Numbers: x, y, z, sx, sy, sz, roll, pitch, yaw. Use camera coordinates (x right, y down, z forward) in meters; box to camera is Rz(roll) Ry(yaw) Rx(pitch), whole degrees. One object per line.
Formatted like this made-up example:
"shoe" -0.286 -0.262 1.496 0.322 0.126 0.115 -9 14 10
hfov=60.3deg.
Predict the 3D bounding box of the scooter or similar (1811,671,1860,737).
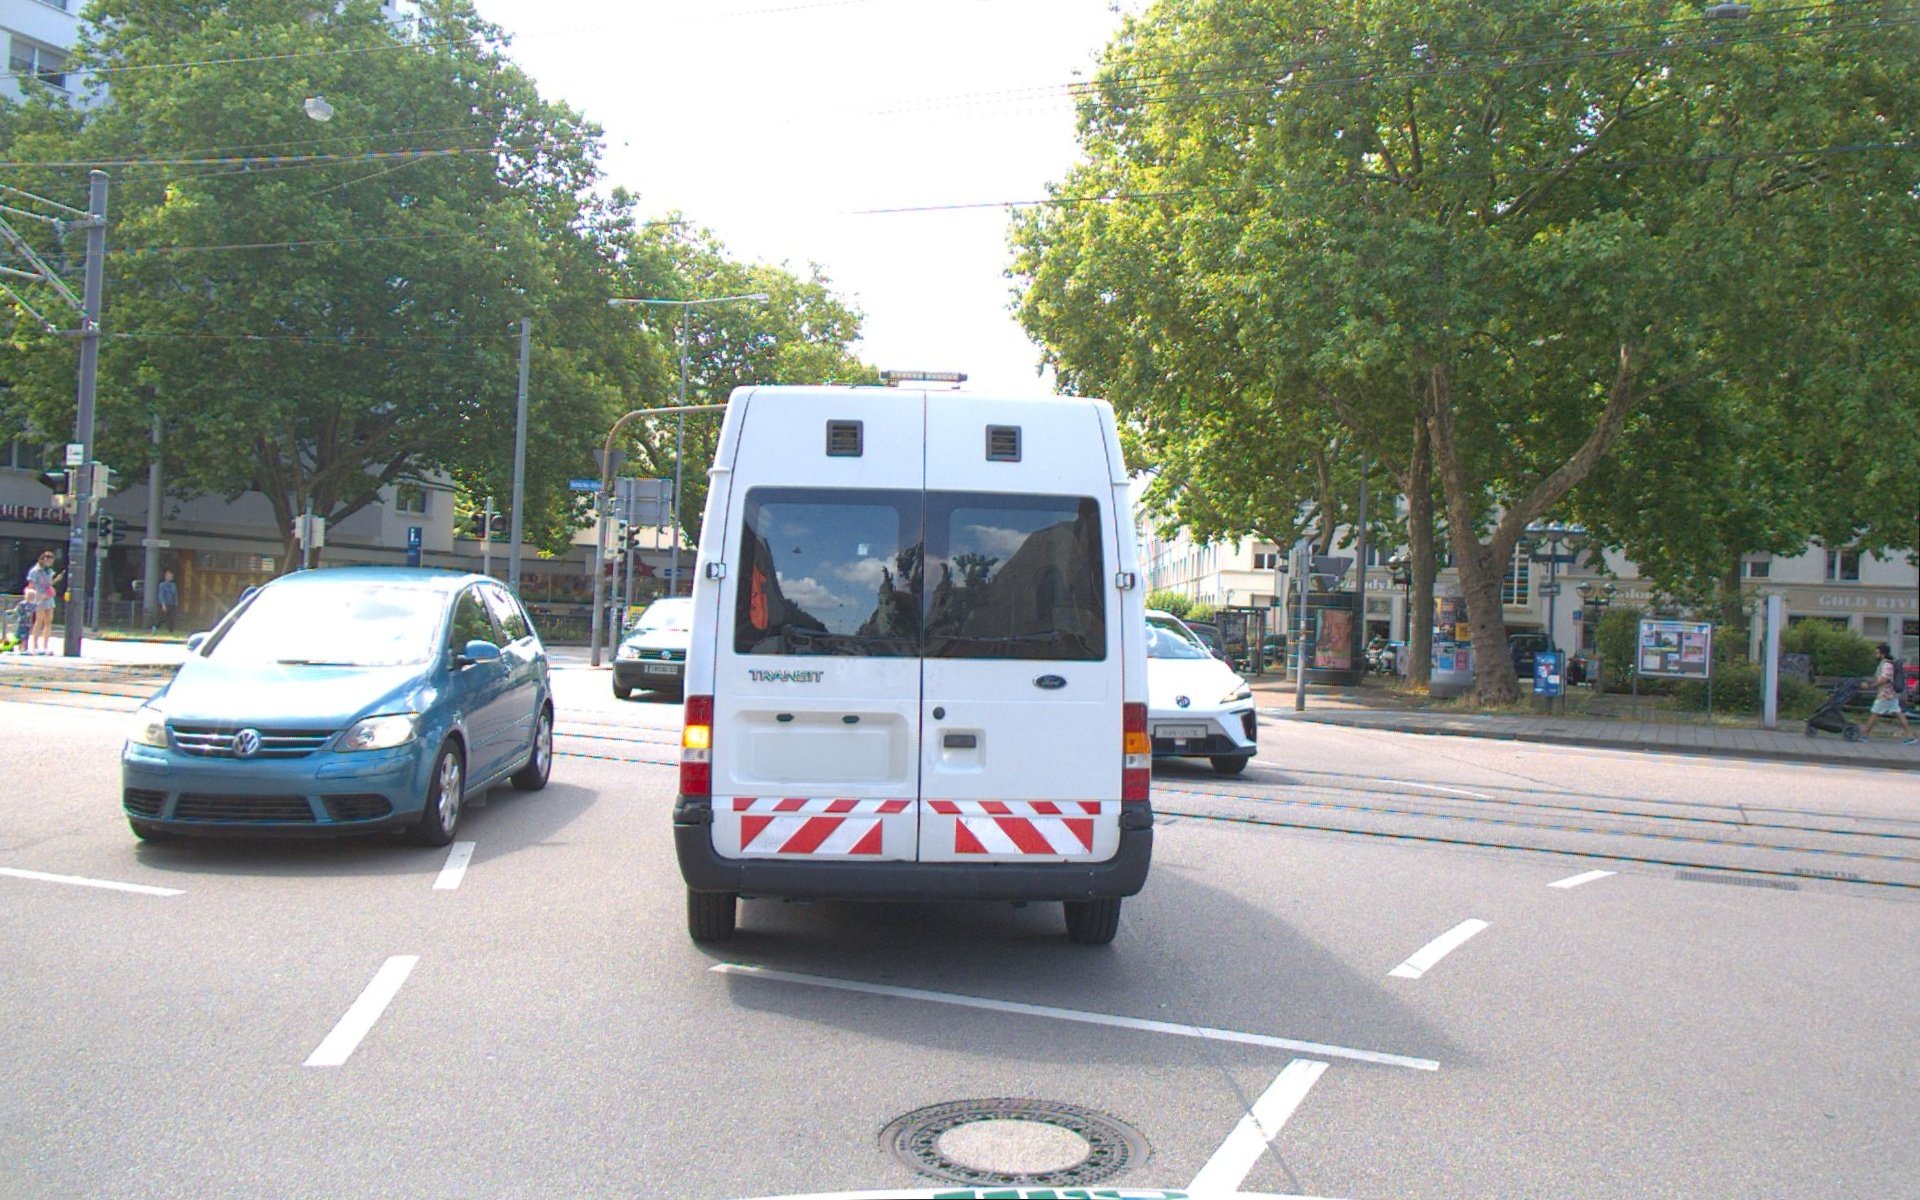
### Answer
"scooter or similar" 15.012 1.775 28.375 0.692 1.074 0.490 2 -1 25

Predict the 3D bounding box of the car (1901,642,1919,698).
"car" 36.862 2.660 62.204 1.953 2.049 3.999 2 -1 22

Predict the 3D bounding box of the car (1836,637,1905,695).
"car" 34.704 2.508 63.120 1.954 2.049 3.997 2 -1 24

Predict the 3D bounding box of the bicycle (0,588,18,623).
"bicycle" -29.152 0.145 49.381 1.712 1.027 0.526 3 -1 -40

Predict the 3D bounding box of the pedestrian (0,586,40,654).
"pedestrian" -15.383 0.324 27.064 0.429 1.082 0.417 1 -1 43

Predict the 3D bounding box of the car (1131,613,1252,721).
"car" 3.732 1.043 27.141 1.656 1.565 3.469 2 0 4

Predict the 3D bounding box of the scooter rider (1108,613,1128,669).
"scooter rider" 5.229 1.348 54.709 0.515 1.843 0.649 2 -1 -1

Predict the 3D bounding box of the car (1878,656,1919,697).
"car" 40.951 3.313 71.667 1.704 1.666 3.997 2 -1 25

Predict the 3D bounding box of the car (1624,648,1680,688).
"car" 27.591 2.704 65.918 1.954 1.447 3.998 2 -1 24

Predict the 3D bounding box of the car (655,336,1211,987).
"car" -0.309 0.241 8.552 2.007 2.373 4.708 2 0 -6

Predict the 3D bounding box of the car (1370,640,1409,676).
"car" 18.058 2.435 69.500 1.434 1.413 3.237 2 -1 16

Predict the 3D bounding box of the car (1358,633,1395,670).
"car" 20.454 2.537 81.181 1.435 1.695 3.067 2 -1 19

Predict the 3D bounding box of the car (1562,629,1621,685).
"car" 25.341 2.284 66.302 1.954 2.112 3.998 2 -1 24

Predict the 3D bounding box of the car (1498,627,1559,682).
"car" 23.265 2.222 67.609 1.954 2.112 3.998 2 -1 24

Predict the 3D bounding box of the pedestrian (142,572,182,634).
"pedestrian" -21.415 0.084 44.386 0.766 1.626 0.535 2 -1 20

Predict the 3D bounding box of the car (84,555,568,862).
"car" -3.738 0.571 10.525 1.712 1.567 3.929 1 0 -3

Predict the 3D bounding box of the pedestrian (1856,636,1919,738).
"pedestrian" 15.743 1.461 28.025 0.902 1.674 0.570 2 -1 25

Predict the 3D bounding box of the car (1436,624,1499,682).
"car" 20.864 2.177 67.931 1.954 2.221 4.255 2 -1 24

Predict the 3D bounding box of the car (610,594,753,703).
"car" -4.002 0.653 24.286 1.679 1.458 3.815 1 0 -4

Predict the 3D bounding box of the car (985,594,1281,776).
"car" 1.553 0.746 16.427 1.782 1.532 4.120 2 0 -11

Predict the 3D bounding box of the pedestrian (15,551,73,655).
"pedestrian" -15.327 0.049 27.679 0.664 1.695 0.622 2 -1 42

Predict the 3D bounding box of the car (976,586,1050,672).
"car" 1.734 0.952 56.451 2.077 2.687 6.326 2 0 -1

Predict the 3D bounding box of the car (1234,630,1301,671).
"car" 13.418 2.192 71.999 1.986 1.628 4.538 2 -1 21

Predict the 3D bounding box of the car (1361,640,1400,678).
"car" 16.766 2.325 65.903 1.434 1.413 3.069 2 -1 15
